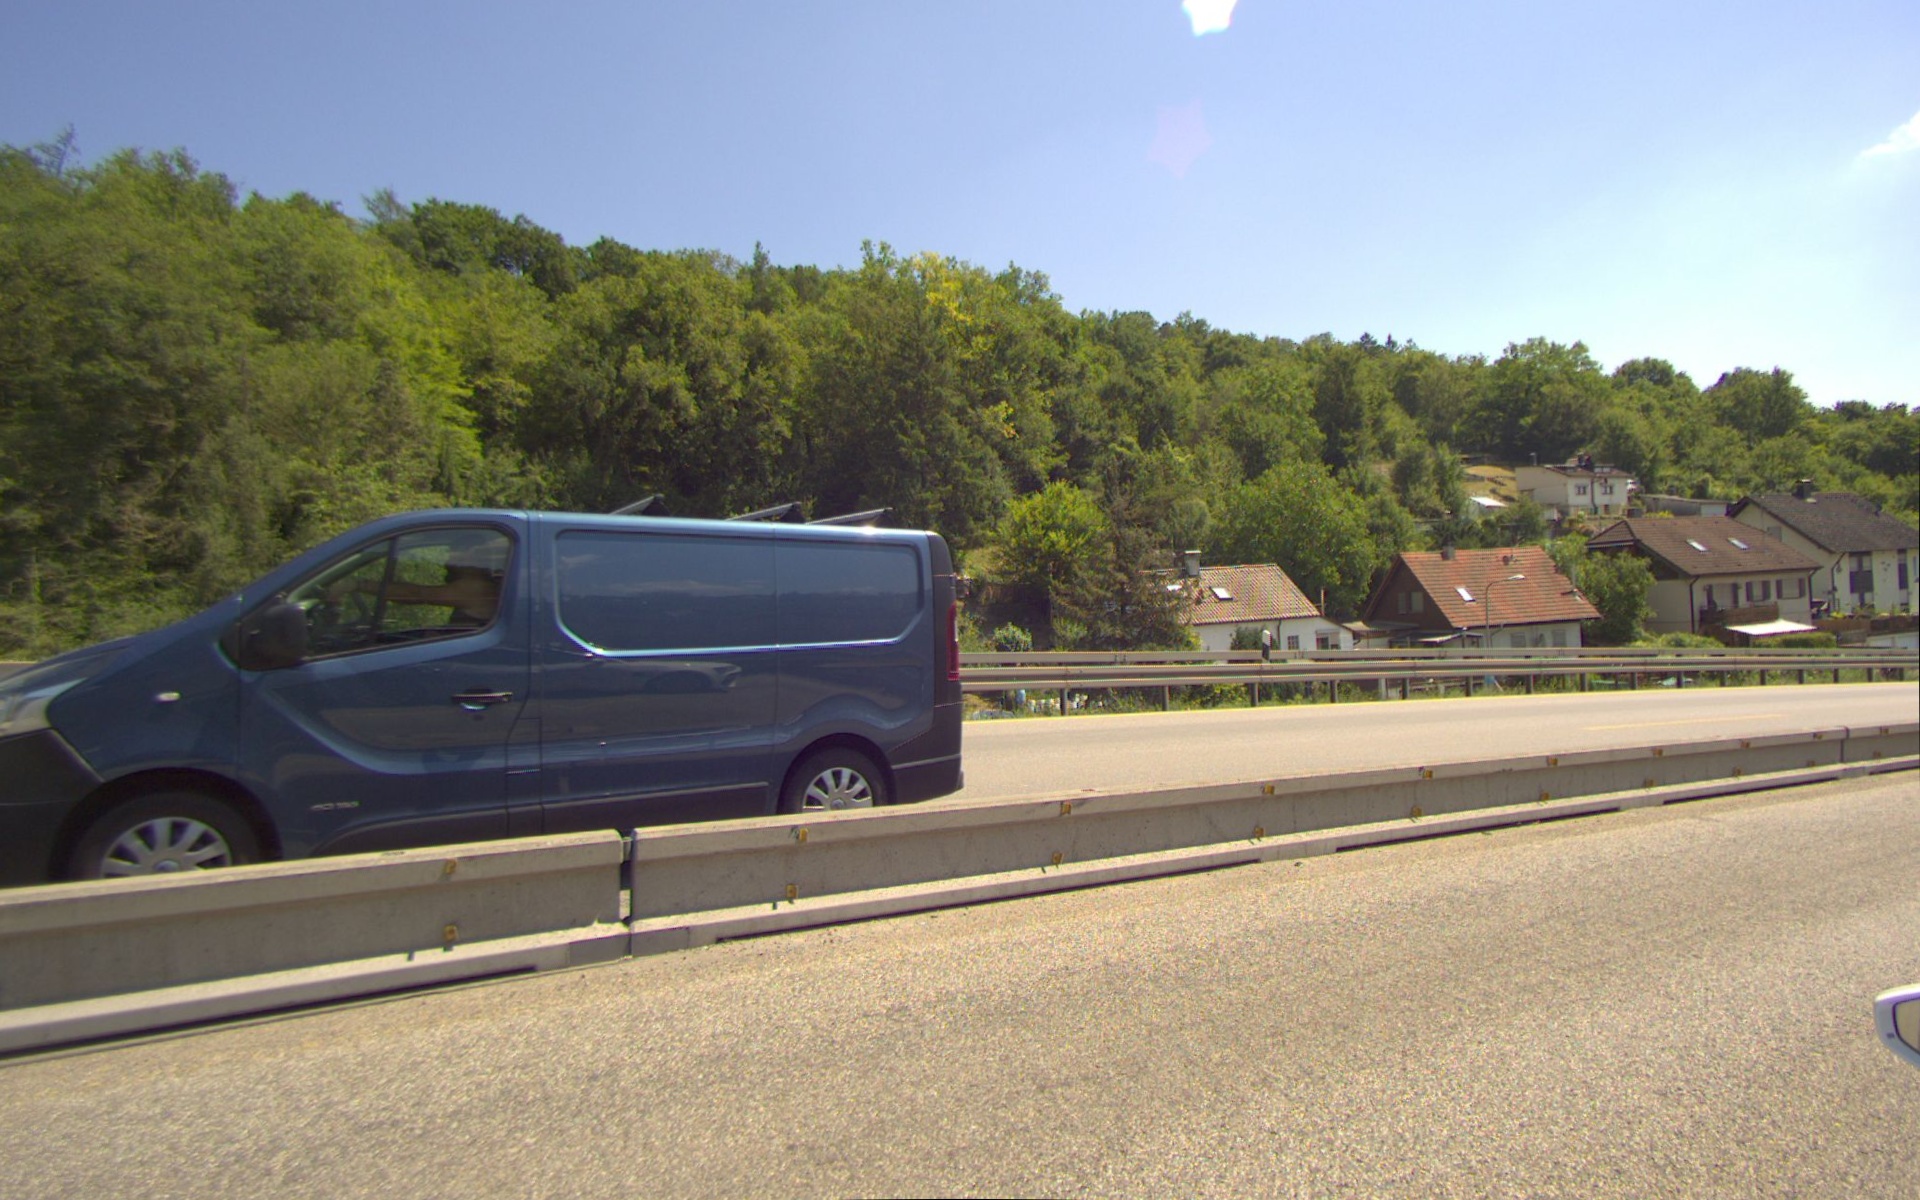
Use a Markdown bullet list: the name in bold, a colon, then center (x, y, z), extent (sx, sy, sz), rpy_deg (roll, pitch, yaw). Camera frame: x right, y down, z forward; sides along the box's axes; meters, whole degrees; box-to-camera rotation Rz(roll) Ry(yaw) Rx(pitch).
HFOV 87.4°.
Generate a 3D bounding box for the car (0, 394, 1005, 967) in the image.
- **car**: center (-2.298, 0.399, 5.837), extent (4.776, 2.202, 1.984), rpy_deg (3, -1, -30)
